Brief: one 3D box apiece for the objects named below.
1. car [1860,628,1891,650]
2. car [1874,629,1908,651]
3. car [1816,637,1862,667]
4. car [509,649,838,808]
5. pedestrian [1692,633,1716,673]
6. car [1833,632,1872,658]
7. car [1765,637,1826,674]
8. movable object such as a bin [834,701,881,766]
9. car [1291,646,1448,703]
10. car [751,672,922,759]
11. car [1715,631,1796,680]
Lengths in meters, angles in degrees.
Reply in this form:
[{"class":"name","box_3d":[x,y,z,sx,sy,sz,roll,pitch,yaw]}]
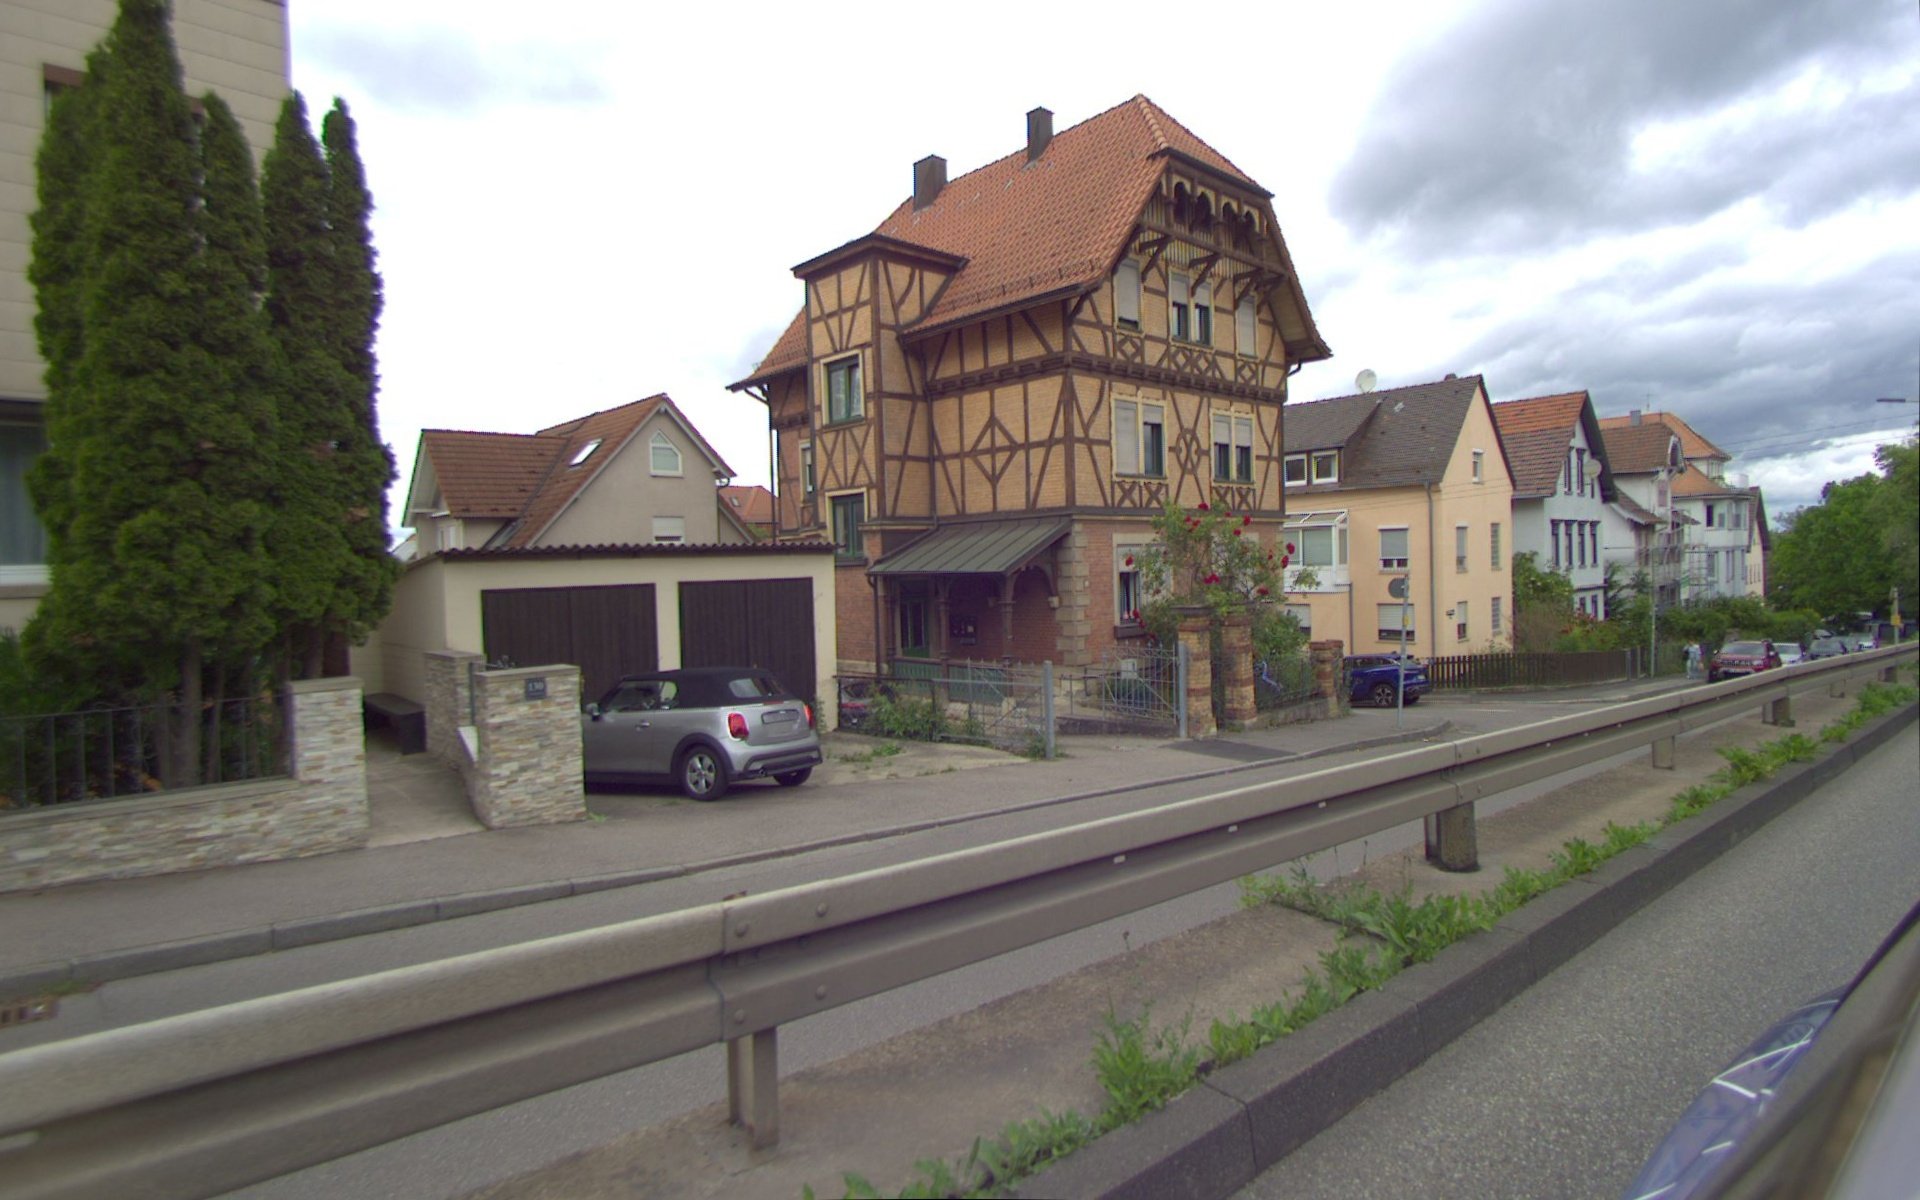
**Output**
[{"class":"car","box_3d":[67.685,2.870,74.851,1.617,1.541,4.239,0,-1,41]},{"class":"car","box_3d":[64.378,2.739,69.941,1.646,1.413,3.709,0,-1,44]},{"class":"car","box_3d":[48.676,2.846,56.033,3.990,1.466,1.620,1,-1,-44]},{"class":"car","box_3d":[-3.448,1.437,12.144,3.582,1.453,1.687,2,-3,29]},{"class":"pedestrian","box_3d":[28.315,2.017,38.531,0.579,1.499,0.619,1,-1,-42]},{"class":"car","box_3d":[55.283,2.777,62.662,1.619,1.466,3.965,-1,-1,44]},{"class":"car","box_3d":[37.101,2.424,44.887,4.359,1.459,1.620,1,-1,-44]},{"class":"movable object such as a bin","box_3d":[-1.749,2.260,17.262,0.611,1.018,0.534,1,-2,-39]},{"class":"car","box_3d":[12.610,2.325,31.317,1.966,1.595,3.988,1,-5,-43]},{"class":"car","box_3d":[-2.672,2.421,21.389,1.803,1.604,3.663,1,-6,-41]},{"class":"car","box_3d":[30.198,2.060,38.376,4.131,1.691,1.784,1,-1,-43]}]
